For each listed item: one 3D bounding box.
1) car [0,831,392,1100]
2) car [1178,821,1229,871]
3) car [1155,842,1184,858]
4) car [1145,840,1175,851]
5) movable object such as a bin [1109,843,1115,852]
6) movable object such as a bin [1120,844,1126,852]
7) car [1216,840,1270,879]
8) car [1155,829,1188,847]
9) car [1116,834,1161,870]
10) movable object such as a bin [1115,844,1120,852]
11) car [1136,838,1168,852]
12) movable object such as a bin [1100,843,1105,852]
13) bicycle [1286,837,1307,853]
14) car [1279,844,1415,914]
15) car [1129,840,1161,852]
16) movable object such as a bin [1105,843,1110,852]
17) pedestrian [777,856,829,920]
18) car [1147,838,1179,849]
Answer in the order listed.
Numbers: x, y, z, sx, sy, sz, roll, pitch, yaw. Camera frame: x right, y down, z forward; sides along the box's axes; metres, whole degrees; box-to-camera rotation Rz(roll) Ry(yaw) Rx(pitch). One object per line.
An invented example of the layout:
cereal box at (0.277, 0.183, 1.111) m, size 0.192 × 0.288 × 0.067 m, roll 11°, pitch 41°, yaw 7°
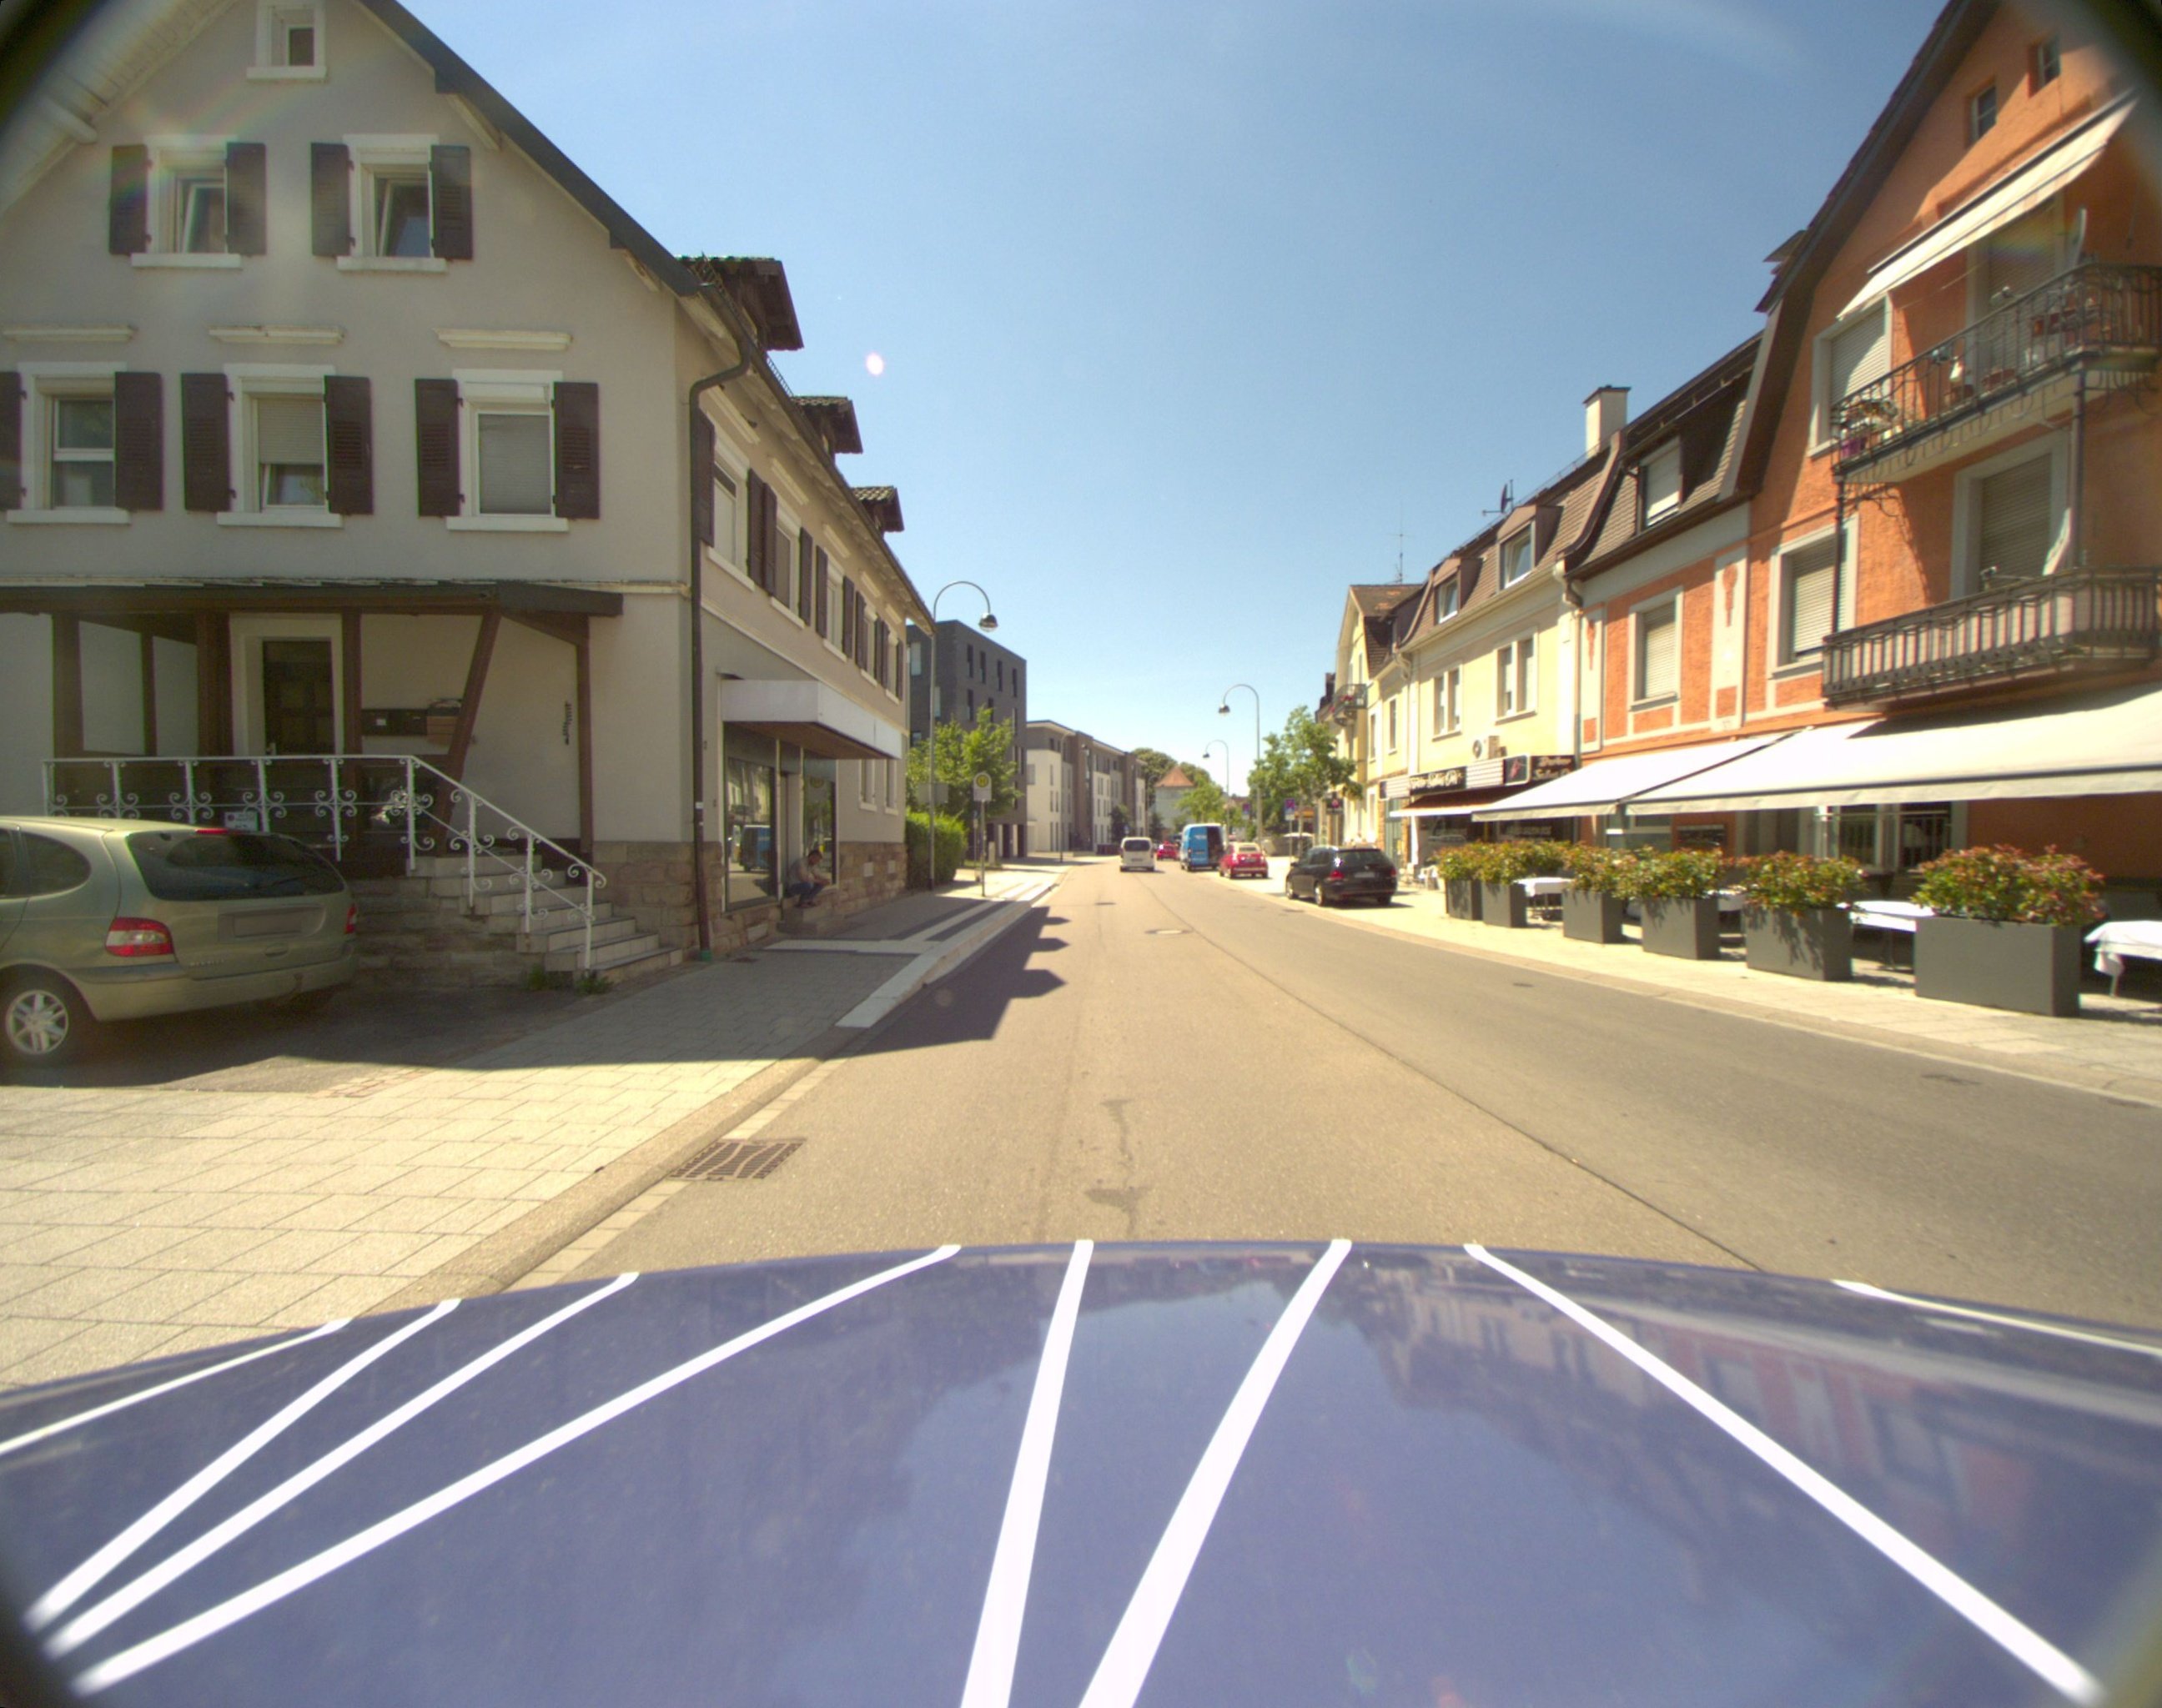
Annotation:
car at (-7.916, 0.653, 5.600) m, size 4.071 × 1.586 × 1.802 m, roll 2°, pitch 1°, yaw 1°
car at (6.585, -0.486, 41.366) m, size 2.097 × 2.484 × 5.503 m, roll -2°, pitch 1°, yaw 3°
car at (8.006, -0.377, 68.241) m, size 1.917 × 1.418 × 3.985 m, roll 0°, pitch 1°, yaw 17°
car at (10.868, -1.235, 104.847) m, size 3.812 × 1.454 × 1.654 m, roll 1°, pitch 2°, yaw 17°
movable object such as a bin at (3.414, -0.686, 82.902) m, size 0.473 × 0.925 × 0.529 m, roll 2°, pitch 3°, yaw 18°
movable object such as a bin at (4.565, -0.656, 82.636) m, size 0.473 × 0.925 × 0.529 m, roll 2°, pitch 3°, yaw 18°
car at (6.934, 0.202, 32.825) m, size 1.563 × 1.512 × 3.514 m, roll -1°, pitch 2°, yaw 0°
car at (14.134, -2.536, 119.176) m, size 4.860 × 2.721 × 1.853 m, roll 1°, pitch 2°, yaw 18°
car at (2.964, -0.138, 40.334) m, size 1.999 × 1.811 × 4.414 m, roll 1°, pitch 1°, yaw 0°
movable object such as a bin at (3.964, -0.671, 82.732) m, size 0.473 × 0.925 × 0.529 m, roll 2°, pitch 3°, yaw 18°
car at (9.210, -1.204, 98.893) m, size 3.813 × 1.776 × 1.842 m, roll 1°, pitch 2°, yaw 16°
movable object such as a bin at (2.353, -0.710, 83.256) m, size 0.473 × 0.925 × 0.529 m, roll 2°, pitch 3°, yaw 18°
bicycle at (18.834, -0.789, 66.381) m, size 1.767 × 1.227 × 0.617 m, roll -3°, pitch -1°, yaw 17°
car at (6.652, 0.541, 19.534) m, size 1.920 × 1.473 × 4.336 m, roll -3°, pitch 1°, yaw 0°
car at (8.148, -1.042, 97.229) m, size 3.813 × 1.474 × 1.780 m, roll 1°, pitch 2°, yaw 16°
movable object such as a bin at (2.894, -0.701, 83.086) m, size 0.473 × 0.925 × 0.529 m, roll 2°, pitch 3°, yaw 18°
pedestrian at (-4.525, 0.540, 12.419) m, size 0.591 × 0.994 × 0.723 m, roll 1°, pitch 1°, yaw -2°
car at (11.843, -1.456, 109.209) m, size 4.353 × 1.542 × 1.653 m, roll 1°, pitch 2°, yaw 15°
